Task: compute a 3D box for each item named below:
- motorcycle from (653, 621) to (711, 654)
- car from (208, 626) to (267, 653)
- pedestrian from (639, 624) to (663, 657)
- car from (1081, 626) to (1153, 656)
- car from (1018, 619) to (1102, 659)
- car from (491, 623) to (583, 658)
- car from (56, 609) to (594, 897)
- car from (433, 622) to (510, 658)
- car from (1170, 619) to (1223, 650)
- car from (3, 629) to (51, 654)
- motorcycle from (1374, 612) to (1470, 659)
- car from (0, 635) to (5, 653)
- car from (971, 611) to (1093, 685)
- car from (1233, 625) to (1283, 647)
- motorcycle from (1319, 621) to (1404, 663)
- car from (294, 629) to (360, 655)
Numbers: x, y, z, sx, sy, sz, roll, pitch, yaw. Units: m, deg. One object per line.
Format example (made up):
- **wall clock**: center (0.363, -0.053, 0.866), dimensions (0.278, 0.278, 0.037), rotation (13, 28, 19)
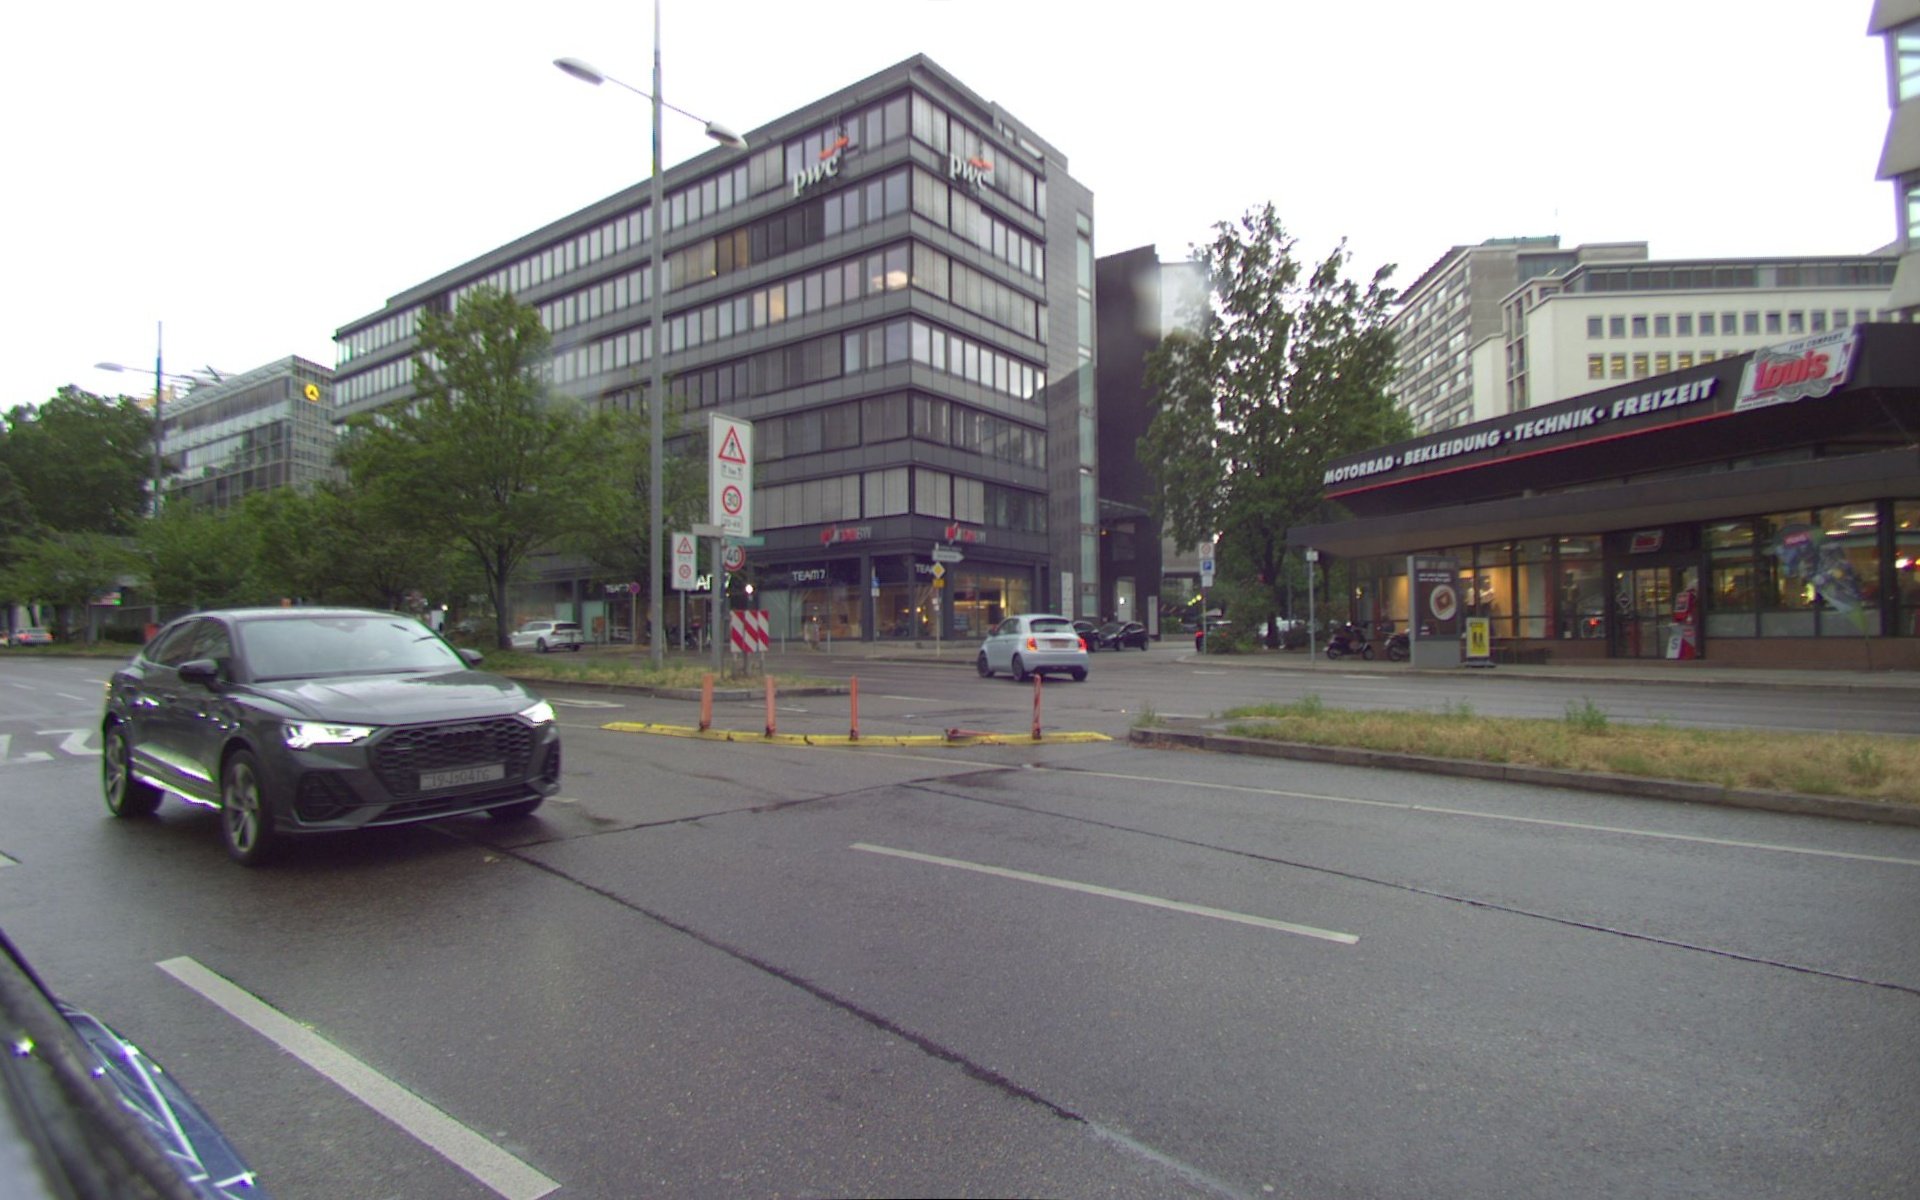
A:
- **motorcycle**: center (-12.354, 1.672, 44.960), dimensions (2.344, 1.404, 0.857), rotation (-1, 2, 10)
- **car**: center (-43.262, 2.332, 60.579), dimensions (4.482, 1.556, 1.972), rotation (-2, -2, 42)
- **pedestrian**: center (-15.683, 2.047, 51.371), dimensions (0.964, 1.650, 0.776), rotation (-2, -2, 36)
- **car**: center (7.667, 1.959, 49.211), dimensions (1.844, 1.298, 3.950), rotation (-1, -1, 37)
- **car**: center (4.551, 1.730, 45.596), dimensions (1.996, 1.652, 3.951), rotation (-1, -1, 36)
- **car**: center (-19.951, 1.893, 47.628), dimensions (4.764, 1.496, 1.792), rotation (-2, 2, 37)
- **car**: center (-4.661, 0.834, 7.196), dimensions (4.282, 1.446, 1.918), rotation (-2, -2, 38)
- **car**: center (-24.817, 2.009, 51.364), dimensions (4.304, 1.673, 1.791), rotation (-2, -1, 38)
- **car**: center (11.638, 1.752, 50.088), dimensions (1.821, 1.462, 4.682), rotation (0, -3, 4)
- **car**: center (-69.530, 3.102, 75.420), dimensions (4.483, 1.741, 1.722), rotation (-2, -1, 35)
- **motorcycle**: center (14.326, 1.093, 31.393), dimensions (2.843, 1.384, 0.806), rotation (-1, -1, -16)
- **car**: center (-77.535, 3.506, 80.397), dimensions (4.074, 1.442, 1.668), rotation (-2, -1, 35)
- **car**: center (1.616, 1.087, 23.989), dimensions (1.759, 1.585, 3.701), rotation (0, -1, -15)
- **car**: center (19.459, 2.344, 65.898), dimensions (1.844, 1.298, 3.950), rotation (-1, -1, 37)
- **motorcycle**: center (13.611, 1.394, 34.321), dimensions (2.773, 1.343, 0.725), rotation (-1, -1, -15)
- **car**: center (-38.193, 2.521, 61.030), dimensions (4.298, 1.455, 1.794), rotation (-2, -1, 34)
